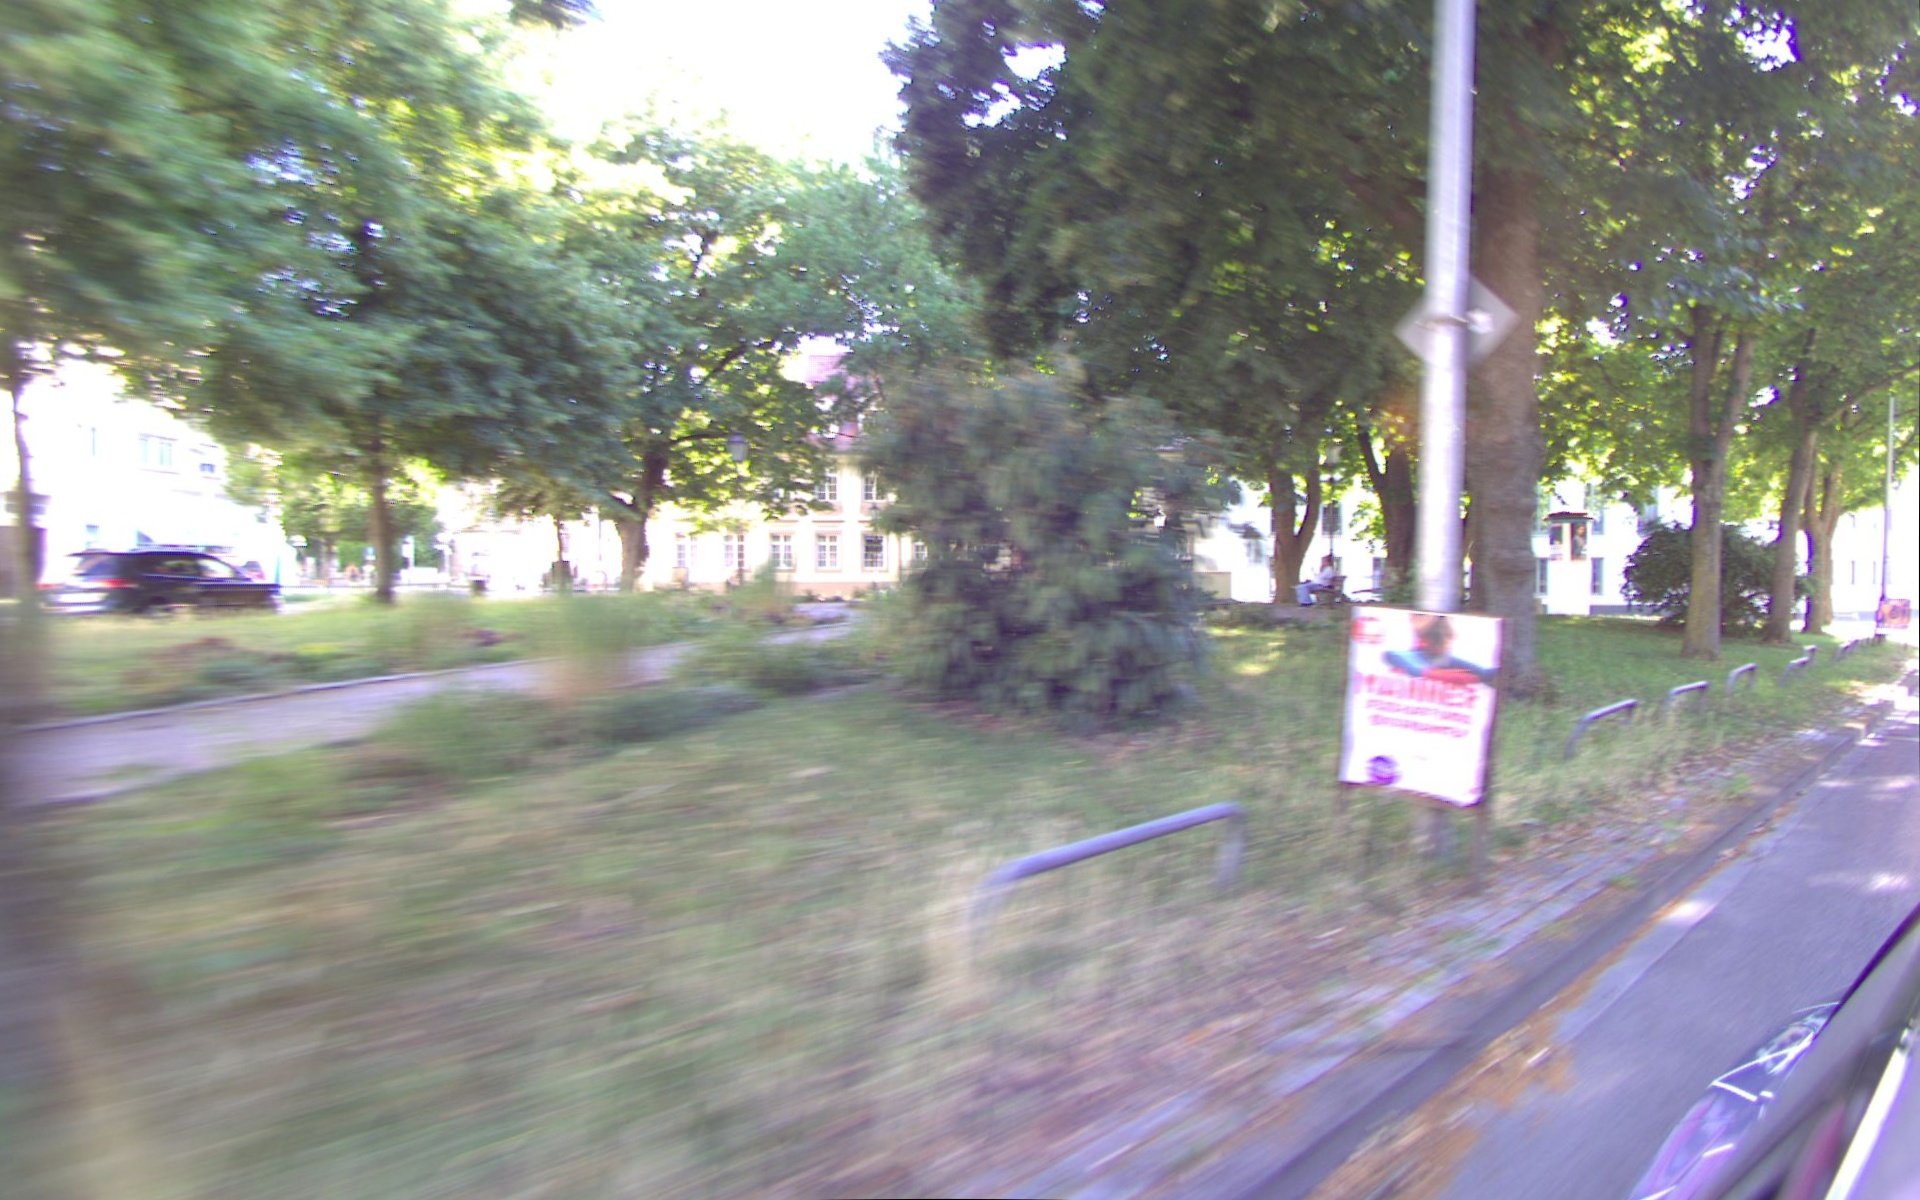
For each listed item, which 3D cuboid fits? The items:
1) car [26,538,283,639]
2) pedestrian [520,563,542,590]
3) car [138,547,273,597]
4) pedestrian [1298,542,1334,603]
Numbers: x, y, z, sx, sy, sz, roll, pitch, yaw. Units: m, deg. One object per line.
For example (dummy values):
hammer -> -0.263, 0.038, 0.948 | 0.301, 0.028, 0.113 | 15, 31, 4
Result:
car -> -16.024, -0.271, 20.443 | 1.962, 1.816, 4.001 | -1, 2, 1
pedestrian -> -33.579, -1.832, 79.160 | 1.328, 2.038, 1.160 | 0, 1, -8
car -> -30.793, -1.149, 41.393 | 3.993, 1.945, 2.001 | 1, 1, -2
pedestrian -> 8.016, -0.622, 22.795 | 0.686, 1.334, 0.679 | 2, 2, 18
